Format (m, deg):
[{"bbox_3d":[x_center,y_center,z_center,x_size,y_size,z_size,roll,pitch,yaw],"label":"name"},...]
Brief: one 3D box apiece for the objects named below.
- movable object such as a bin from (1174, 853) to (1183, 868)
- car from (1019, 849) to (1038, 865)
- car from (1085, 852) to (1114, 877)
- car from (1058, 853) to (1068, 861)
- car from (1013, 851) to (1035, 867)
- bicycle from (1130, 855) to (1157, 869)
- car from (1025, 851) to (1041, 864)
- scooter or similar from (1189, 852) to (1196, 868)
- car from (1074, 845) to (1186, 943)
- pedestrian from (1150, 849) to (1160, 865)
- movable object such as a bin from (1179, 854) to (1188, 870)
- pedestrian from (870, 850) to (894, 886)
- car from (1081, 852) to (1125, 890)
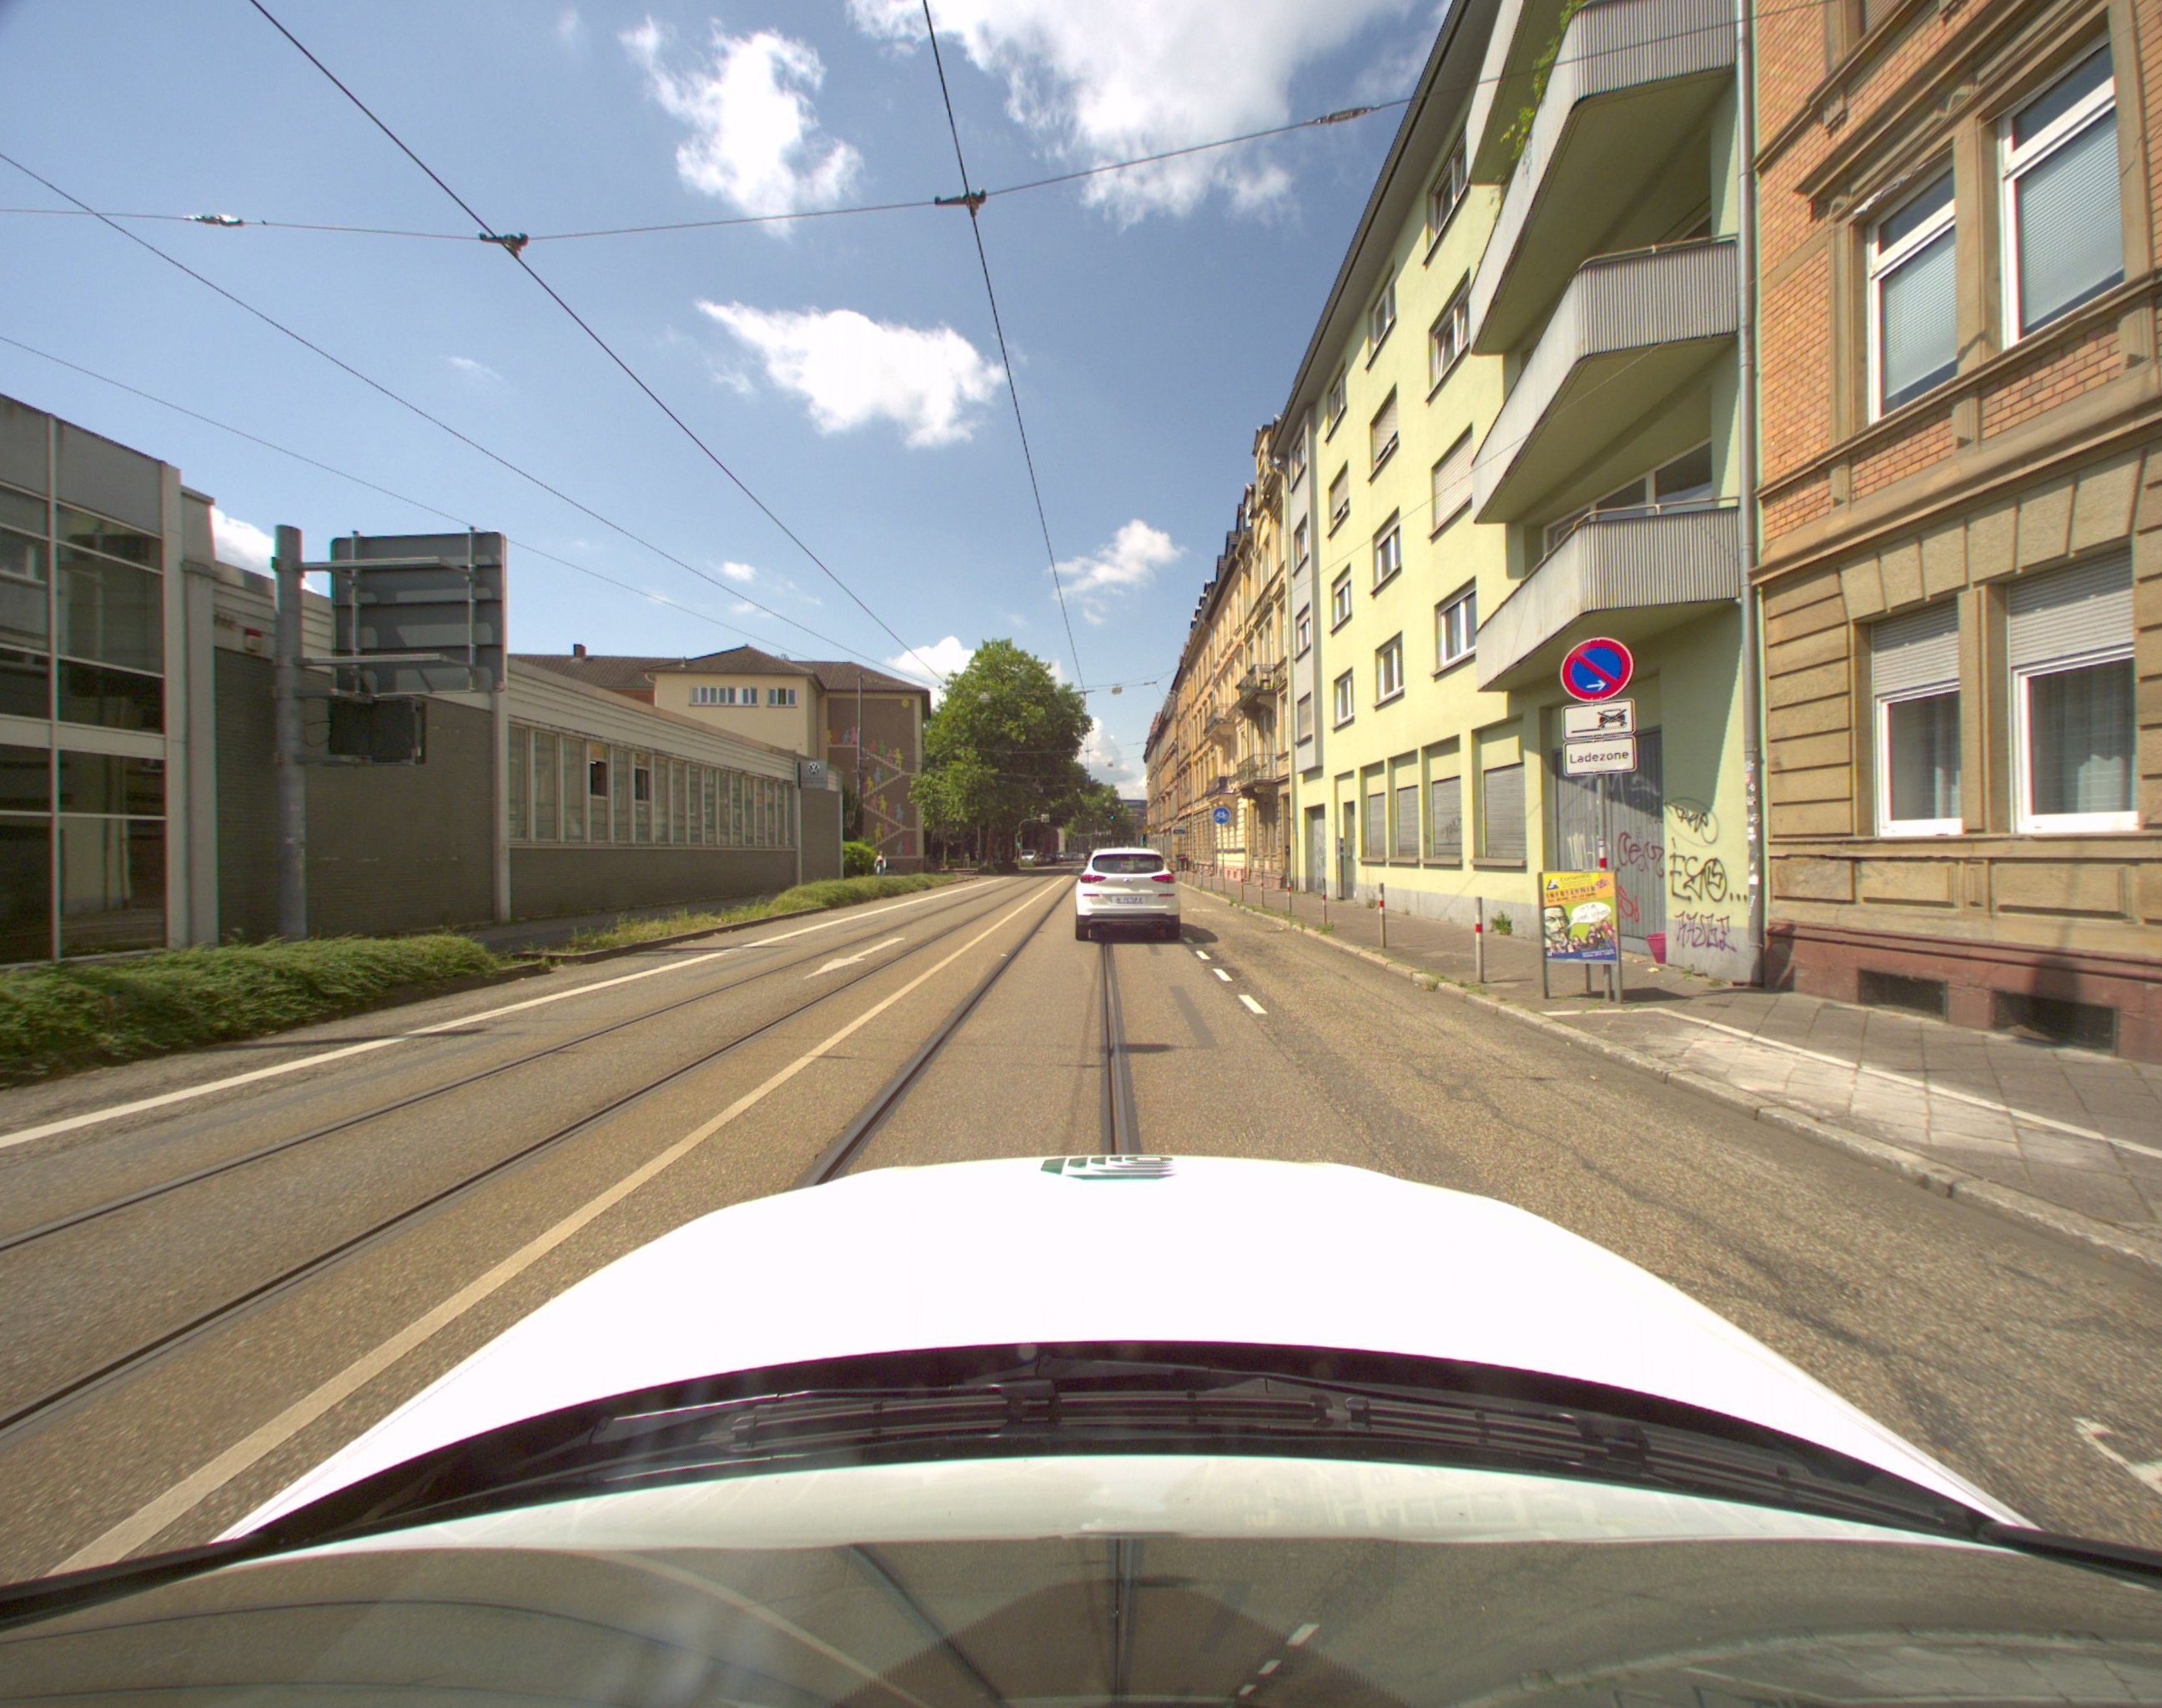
[{"bbox_3d":[7.424,0.486,62.055,0.610,1.143,0.639,0,0,1],"label":"movable object such as a bin"},{"bbox_3d":[-6.209,0.351,96.837,1.943,1.895,4.566,0,0,1],"label":"car"},{"bbox_3d":[1.211,0.661,53.157,1.808,1.524,3.957,-1,0,2],"label":"car"},{"bbox_3d":[-3.554,0.557,160.871,1.944,1.632,3.998,0,0,-1],"label":"car"},{"bbox_3d":[-6.285,0.524,90.446,1.943,1.632,4.577,0,0,1],"label":"car"},{"bbox_3d":[5.289,0.668,69.050,2.260,1.144,0.584,0,0,-1],"label":"bicycle"},{"bbox_3d":[-6.091,0.406,103.915,1.944,1.632,3.998,0,0,-1],"label":"car"},{"bbox_3d":[7.913,0.427,57.762,0.394,1.164,0.486,0,0,1],"label":"scooter or similar"},{"bbox_3d":[0.802,0.674,15.777,1.847,1.634,4.179,0,0,-1],"label":"car"},{"bbox_3d":[7.212,0.295,79.434,0.934,1.572,1.050,0,0,1],"label":"pedestrian"},{"bbox_3d":[7.652,0.574,60.621,0.610,1.143,0.639,0,0,1],"label":"movable object such as a bin"},{"bbox_3d":[-10.428,0.727,42.672,0.877,1.865,1.081,-2,0,1],"label":"pedestrian"},{"bbox_3d":[1.005,0.689,35.936,1.807,1.524,4.087,-1,0,2],"label":"car"}]
